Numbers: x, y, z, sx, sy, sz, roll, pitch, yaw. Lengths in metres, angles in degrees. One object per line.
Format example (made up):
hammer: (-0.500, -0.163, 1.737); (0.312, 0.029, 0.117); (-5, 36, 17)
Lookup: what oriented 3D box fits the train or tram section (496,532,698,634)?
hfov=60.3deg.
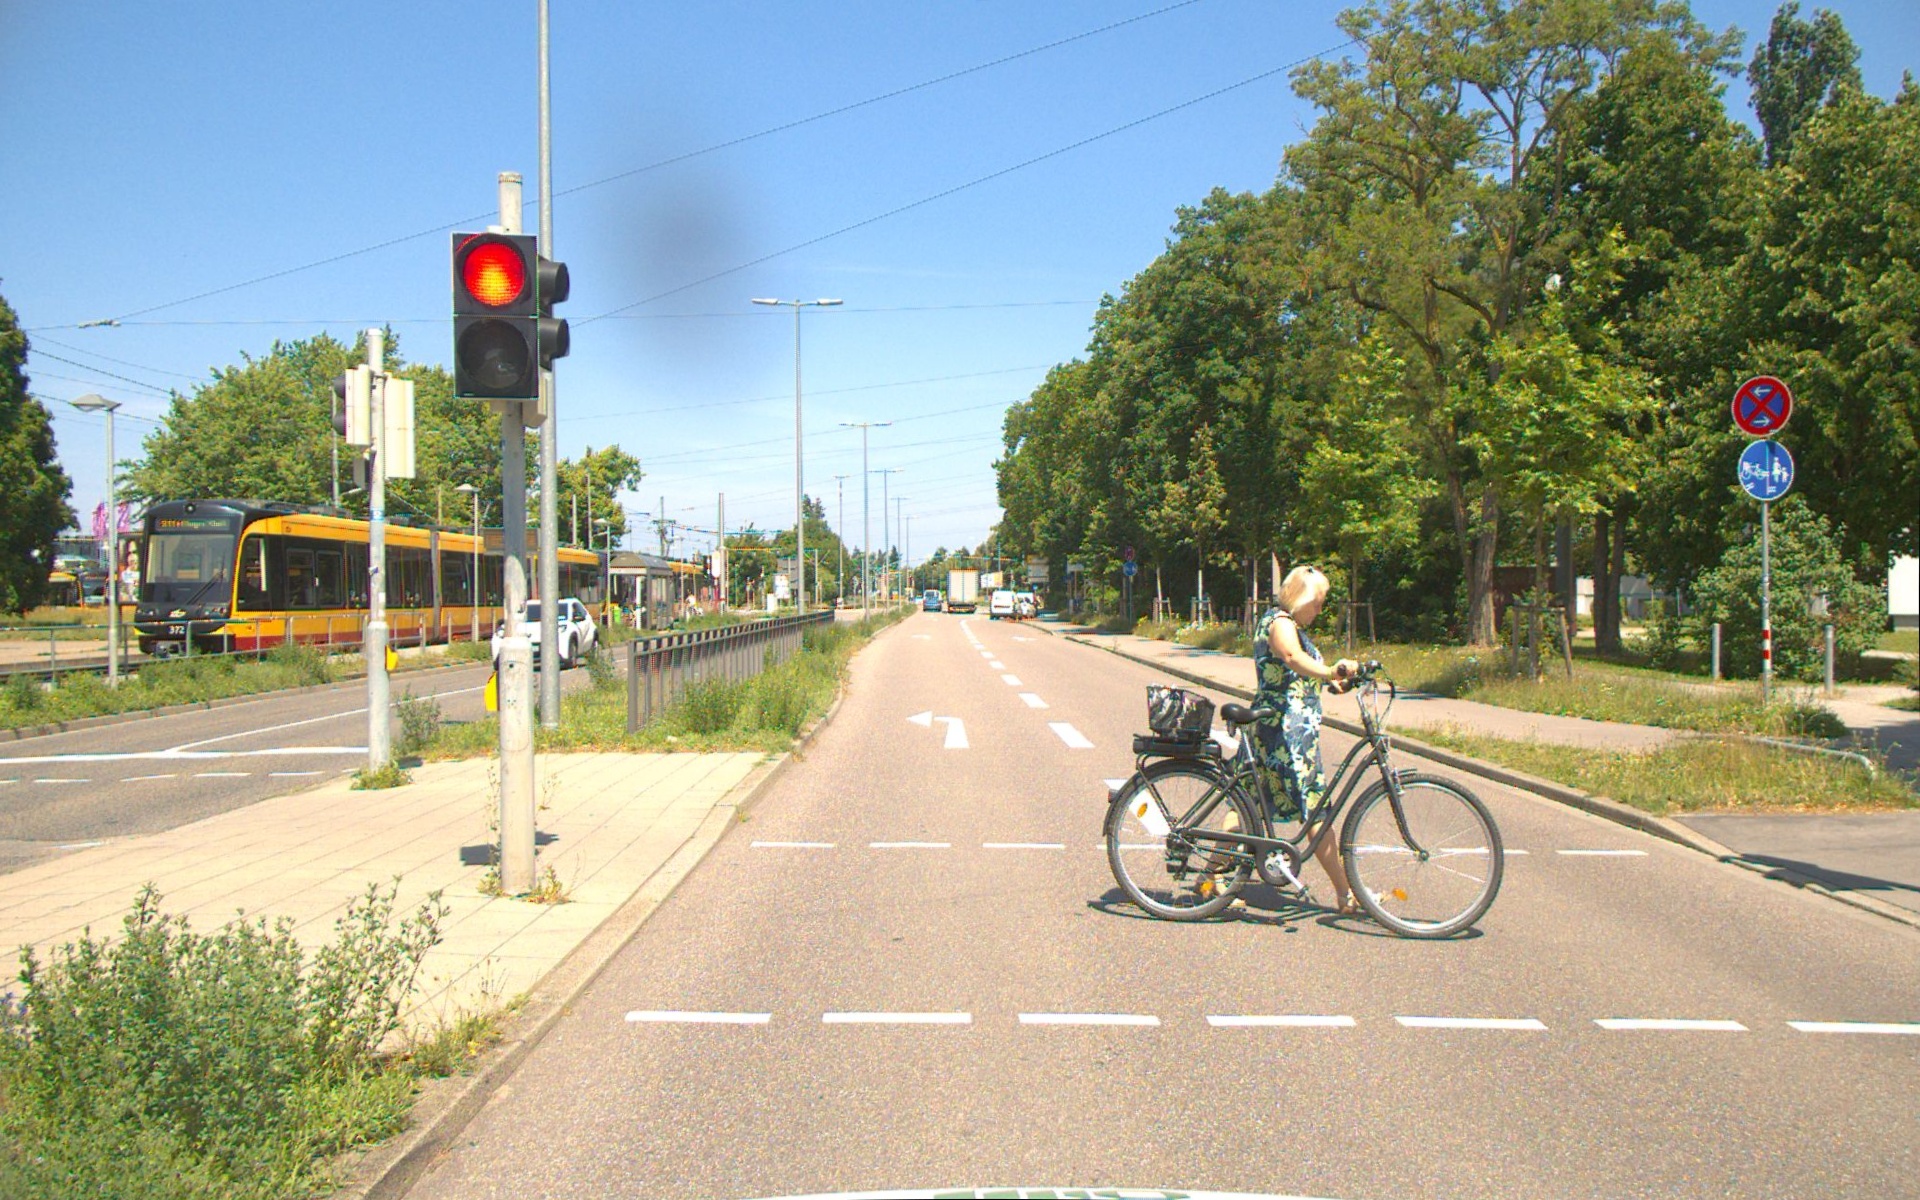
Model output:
train or tram section: (-16.367, -0.694, 79.274); (2.871, 3.856, 33.081); (0, 0, -1)

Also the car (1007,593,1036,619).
car: (4.184, 0.390, 112.500); (1.743, 1.698, 3.999); (0, 0, -1)

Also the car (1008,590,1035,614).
car: (4.408, 0.110, 118.851); (1.743, 1.698, 3.999); (0, 0, -1)

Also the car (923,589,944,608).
car: (-2.607, -0.136, 163.412); (1.953, 1.847, 3.999); (1, 0, -1)

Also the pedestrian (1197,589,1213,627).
pedestrian: (9.307, 0.298, 62.805); (0.591, 1.463, 0.556); (0, 0, 6)

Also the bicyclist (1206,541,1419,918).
bicyclist: (1.686, 0.584, 7.862); (0.937, 1.696, 0.581); (0, 0, 17)

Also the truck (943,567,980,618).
truck: (0.073, -0.652, 146.119); (3.140, 4.435, 6.559); (0, 0, -1)

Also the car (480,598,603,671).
car: (-9.197, 0.715, 36.615); (1.807, 1.521, 3.790); (0, 0, -1)

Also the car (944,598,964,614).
car: (-0.588, 0.552, 153.597); (1.774, 1.490, 3.999); (0, 0, -1)

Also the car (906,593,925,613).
car: (-4.695, 0.320, 175.086); (1.953, 2.049, 3.999); (0, 0, -1)

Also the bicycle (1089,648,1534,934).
bicycle: (1.586, 0.823, 7.528); (1.916, 1.181, 0.541); (0, 0, 17)

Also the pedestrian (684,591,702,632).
pedestrian: (-13.463, 0.584, 83.436); (0.798, 2.049, 0.938); (0, 0, -1)

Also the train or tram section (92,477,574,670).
train or tram section: (-15.908, -0.582, 47.729); (2.897, 3.815, 30.027); (0, 0, -1)

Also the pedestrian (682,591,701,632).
pedestrian: (-13.740, 0.585, 84.726); (0.798, 2.049, 0.938); (0, 0, -1)

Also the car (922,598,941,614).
car: (-2.700, 0.534, 157.968); (1.774, 1.490, 3.999); (0, 0, -1)

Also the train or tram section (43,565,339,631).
train or tram section: (-48.131, -0.081, 103.503); (18.045, 4.000, 3.229); (0, 0, 9)

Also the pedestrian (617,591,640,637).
pedestrian: (-13.847, 0.587, 69.078); (0.769, 1.901, 0.817); (0, 0, -1)

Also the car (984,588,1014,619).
car: (2.456, 0.213, 105.546); (1.743, 1.937, 3.999); (0, 0, -1)
